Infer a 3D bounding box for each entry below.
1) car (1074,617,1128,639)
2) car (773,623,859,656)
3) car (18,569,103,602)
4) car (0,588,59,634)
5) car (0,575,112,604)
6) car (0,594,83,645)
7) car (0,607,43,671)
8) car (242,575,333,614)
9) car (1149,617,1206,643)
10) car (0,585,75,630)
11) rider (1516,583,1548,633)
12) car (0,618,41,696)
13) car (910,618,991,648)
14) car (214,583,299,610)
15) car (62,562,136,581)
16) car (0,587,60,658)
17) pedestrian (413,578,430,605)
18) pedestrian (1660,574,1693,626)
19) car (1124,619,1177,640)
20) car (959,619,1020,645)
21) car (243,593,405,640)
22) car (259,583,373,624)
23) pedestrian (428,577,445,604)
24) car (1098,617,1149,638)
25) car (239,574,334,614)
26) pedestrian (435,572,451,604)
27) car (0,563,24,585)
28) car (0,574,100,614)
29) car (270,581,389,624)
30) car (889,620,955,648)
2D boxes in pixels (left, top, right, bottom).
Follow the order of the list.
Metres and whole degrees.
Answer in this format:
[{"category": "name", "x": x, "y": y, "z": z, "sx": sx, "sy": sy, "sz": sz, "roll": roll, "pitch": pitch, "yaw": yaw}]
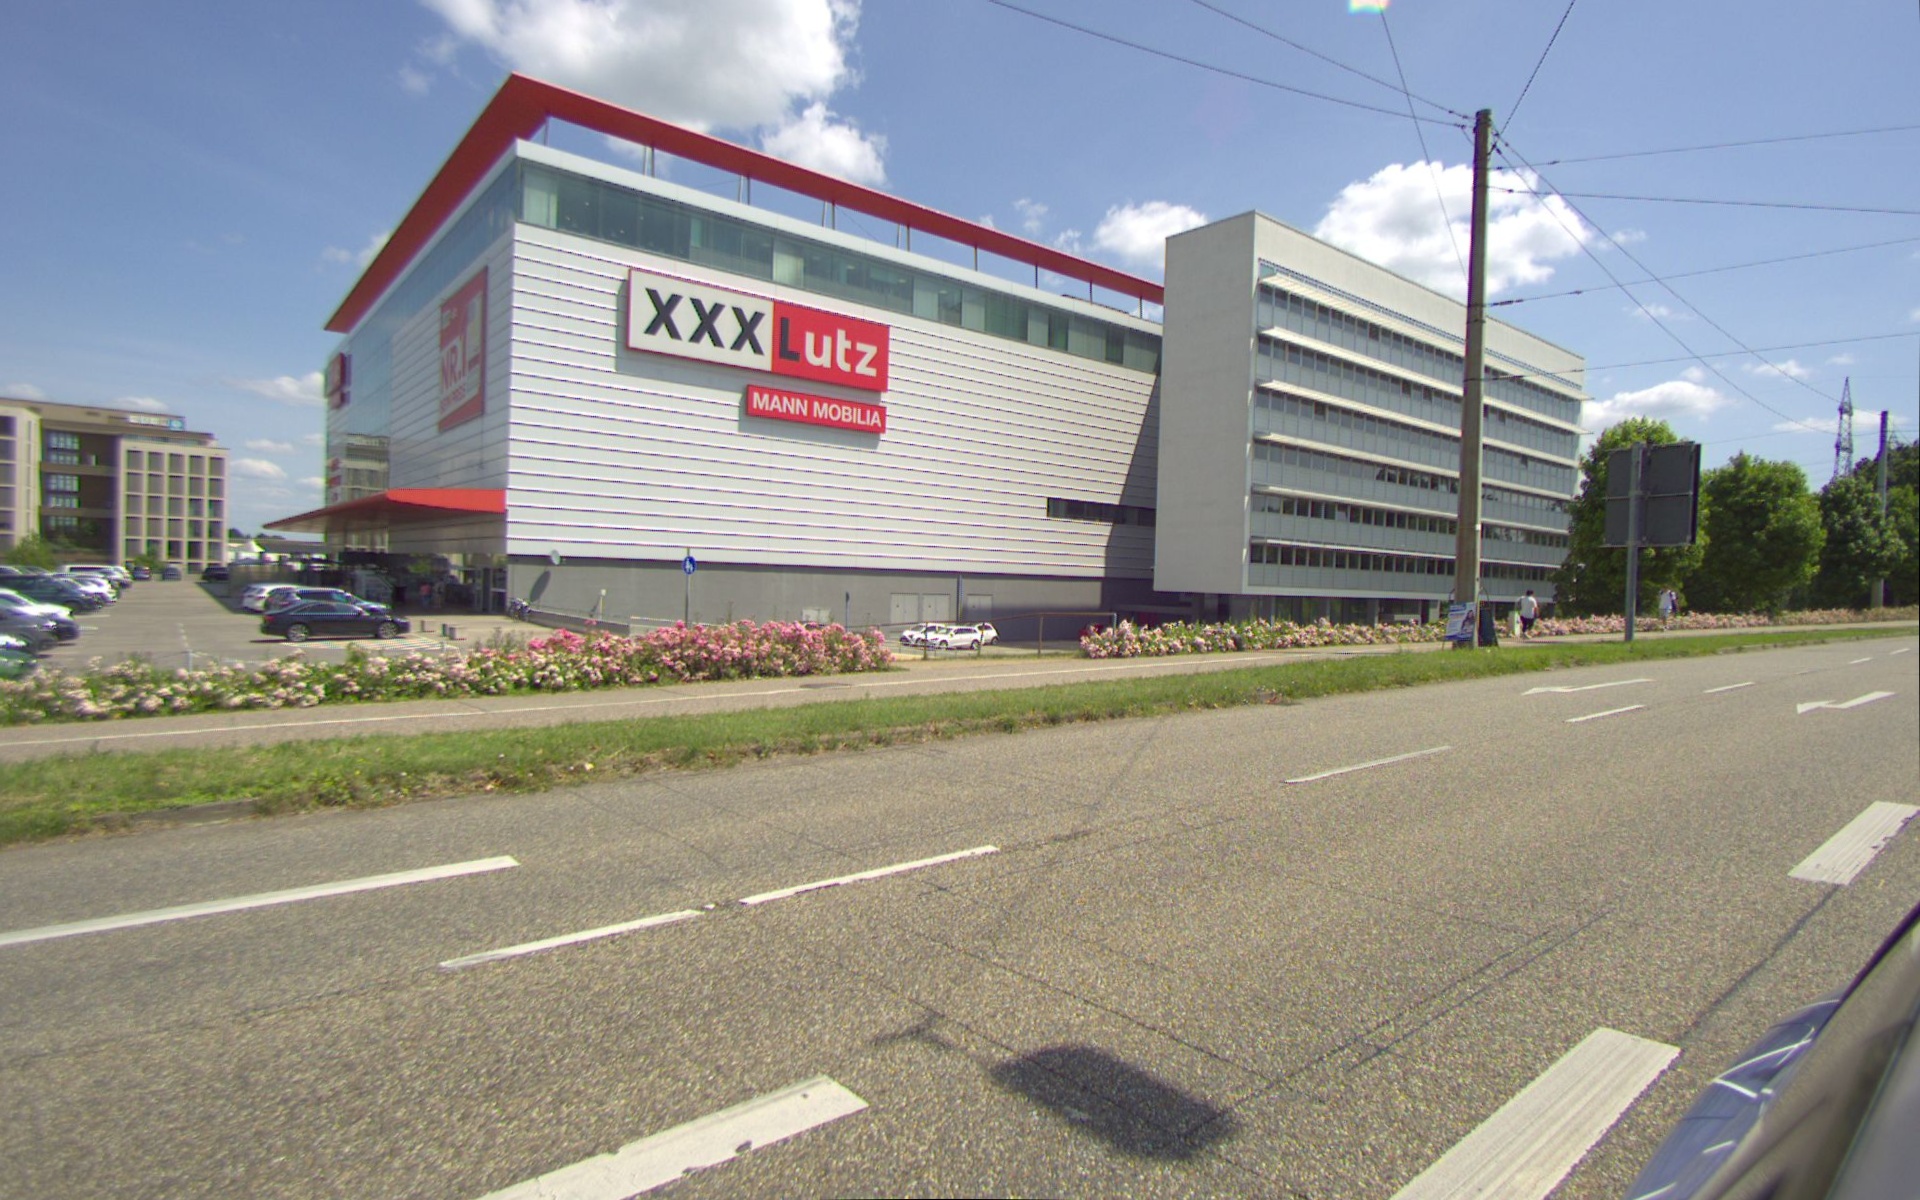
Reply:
[{"category": "car", "x": 10.655, "y": 2.097, "z": 76.409, "sx": 3.930, "sy": 1.465, "sz": 1.997, "roll": -1, "pitch": 1, "yaw": -41}, {"category": "car", "x": -8.210, "y": 2.240, "z": 57.842, "sx": 4.509, "sy": 1.632, "sz": 1.997, "roll": -1, "pitch": 1, "yaw": -41}, {"category": "car", "x": -56.935, "y": -0.910, "z": 64.157, "sx": 3.930, "sy": 2.039, "sz": 1.997, "roll": -1, "pitch": 1, "yaw": -41}, {"category": "car", "x": -35.582, "y": 0.397, "z": 36.239, "sx": 4.913, "sy": 1.631, "sz": 1.997, "roll": 0, "pitch": 1, "yaw": -41}, {"category": "car", "x": -51.976, "y": -0.592, "z": 58.225, "sx": 4.913, "sy": 1.631, "sz": 1.997, "roll": 0, "pitch": 1, "yaw": -41}, {"category": "car", "x": -31.910, "y": 0.624, "z": 33.024, "sx": 4.913, "sy": 1.631, "sz": 1.997, "roll": 0, "pitch": 1, "yaw": -41}, {"category": "car", "x": -25.992, "y": 1.005, "z": 24.965, "sx": 4.913, "sy": 1.570, "sz": 1.997, "roll": 0, "pitch": 1, "yaw": -41}, {"category": "car", "x": -36.576, "y": -0.321, "z": 55.062, "sx": 3.930, "sy": 2.039, "sz": 1.997, "roll": -1, "pitch": 1, "yaw": -41}, {"category": "car", "x": 15.211, "y": 2.079, "z": 70.702, "sx": 3.930, "sy": 1.632, "sz": 1.997, "roll": -1, "pitch": 1, "yaw": -41}, {"category": "car", "x": -37.086, "y": 0.278, "z": 38.640, "sx": 4.913, "sy": 1.671, "sz": 1.997, "roll": 0, "pitch": 1, "yaw": -41}, {"category": "rider", "x": 17.176, "y": 0.240, "z": 30.373, "sx": 0.607, "sy": 1.476, "sz": 0.670, "roll": 0, "pitch": 0, "yaw": -41}, {"category": "car", "x": -22.670, "y": 1.272, "z": 21.765, "sx": 4.227, "sy": 1.514, "sz": 1.998, "roll": 0, "pitch": 4, "yaw": -41}, {"category": "car", "x": -0.544, "y": 2.049, "z": 63.846, "sx": 5.057, "sy": 1.632, "sz": 1.997, "roll": -1, "pitch": 1, "yaw": -41}, {"category": "car", "x": -41.045, "y": -0.212, "z": 59.055, "sx": 3.930, "sy": 1.505, "sz": 1.997, "roll": 0, "pitch": 1, "yaw": -41}, {"category": "car", "x": -75.959, "y": -2.504, "z": 89.382, "sx": 4.913, "sy": 1.631, "sz": 1.997, "roll": 0, "pitch": 1, "yaw": -41}, {"category": "car", "x": -29.130, "y": 0.642, "z": 28.617, "sx": 5.437, "sy": 2.039, "sz": 1.997, "roll": 0, "pitch": 0, "yaw": -41}, {"category": "pedestrian", "x": -32.104, "y": -0.527, "z": 60.305, "sx": 0.723, "sy": 1.577, "sz": 0.741, "roll": 0, "pitch": 0, "yaw": -42}, {"category": "pedestrian", "x": 26.139, "y": -0.021, "z": 36.922, "sx": 0.913, "sy": 1.872, "sz": 0.758, "roll": 0, "pitch": 0, "yaw": -38}, {"category": "car", "x": 13.649, "y": 2.124, "z": 72.400, "sx": 3.930, "sy": 1.338, "sz": 1.607, "roll": -1, "pitch": 1, "yaw": -41}, {"category": "car", "x": 2.044, "y": 2.154, "z": 69.242, "sx": 3.930, "sy": 1.632, "sz": 1.997, "roll": -1, "pitch": 1, "yaw": -41}, {"category": "car", "x": -23.761, "y": 0.572, "z": 37.919, "sx": 4.913, "sy": 1.631, "sz": 1.997, "roll": 0, "pitch": 1, "yaw": -41}, {"category": "car", "x": -29.841, "y": 0.141, "z": 46.975, "sx": 4.257, "sy": 1.804, "sz": 1.997, "roll": 0, "pitch": -1, "yaw": -41}, {"category": "pedestrian", "x": -31.027, "y": -0.554, "z": 59.979, "sx": 0.723, "sy": 1.577, "sz": 0.741, "roll": 0, "pitch": 0, "yaw": -42}, {"category": "car", "x": 12.056, "y": 1.990, "z": 74.558, "sx": 3.930, "sy": 1.403, "sz": 1.646, "roll": -1, "pitch": 1, "yaw": -41}, {"category": "car", "x": -35.147, "y": -0.318, "z": 52.831, "sx": 3.930, "sy": 2.039, "sz": 1.997, "roll": 0, "pitch": 0, "yaw": -41}, {"category": "pedestrian", "x": -31.304, "y": -0.718, "z": 61.282, "sx": 0.723, "sy": 1.893, "sz": 0.741, "roll": 0, "pitch": 0, "yaw": -42}, {"category": "car", "x": -74.865, "y": -1.992, "z": 77.238, "sx": 4.913, "sy": 1.631, "sz": 1.997, "roll": 0, "pitch": 1, "yaw": -41}, {"category": "car", "x": -45.981, "y": -0.307, "z": 50.151, "sx": 5.094, "sy": 1.888, "sz": 1.996, "roll": 0, "pitch": 1, "yaw": -42}, {"category": "car", "x": -27.850, "y": 0.116, "z": 44.760, "sx": 4.257, "sy": 1.804, "sz": 1.997, "roll": 0, "pitch": -1, "yaw": -41}, {"category": "car", "x": -2.436, "y": 2.191, "z": 65.772, "sx": 3.930, "sy": 1.632, "sz": 1.997, "roll": -1, "pitch": 1, "yaw": -41}]
